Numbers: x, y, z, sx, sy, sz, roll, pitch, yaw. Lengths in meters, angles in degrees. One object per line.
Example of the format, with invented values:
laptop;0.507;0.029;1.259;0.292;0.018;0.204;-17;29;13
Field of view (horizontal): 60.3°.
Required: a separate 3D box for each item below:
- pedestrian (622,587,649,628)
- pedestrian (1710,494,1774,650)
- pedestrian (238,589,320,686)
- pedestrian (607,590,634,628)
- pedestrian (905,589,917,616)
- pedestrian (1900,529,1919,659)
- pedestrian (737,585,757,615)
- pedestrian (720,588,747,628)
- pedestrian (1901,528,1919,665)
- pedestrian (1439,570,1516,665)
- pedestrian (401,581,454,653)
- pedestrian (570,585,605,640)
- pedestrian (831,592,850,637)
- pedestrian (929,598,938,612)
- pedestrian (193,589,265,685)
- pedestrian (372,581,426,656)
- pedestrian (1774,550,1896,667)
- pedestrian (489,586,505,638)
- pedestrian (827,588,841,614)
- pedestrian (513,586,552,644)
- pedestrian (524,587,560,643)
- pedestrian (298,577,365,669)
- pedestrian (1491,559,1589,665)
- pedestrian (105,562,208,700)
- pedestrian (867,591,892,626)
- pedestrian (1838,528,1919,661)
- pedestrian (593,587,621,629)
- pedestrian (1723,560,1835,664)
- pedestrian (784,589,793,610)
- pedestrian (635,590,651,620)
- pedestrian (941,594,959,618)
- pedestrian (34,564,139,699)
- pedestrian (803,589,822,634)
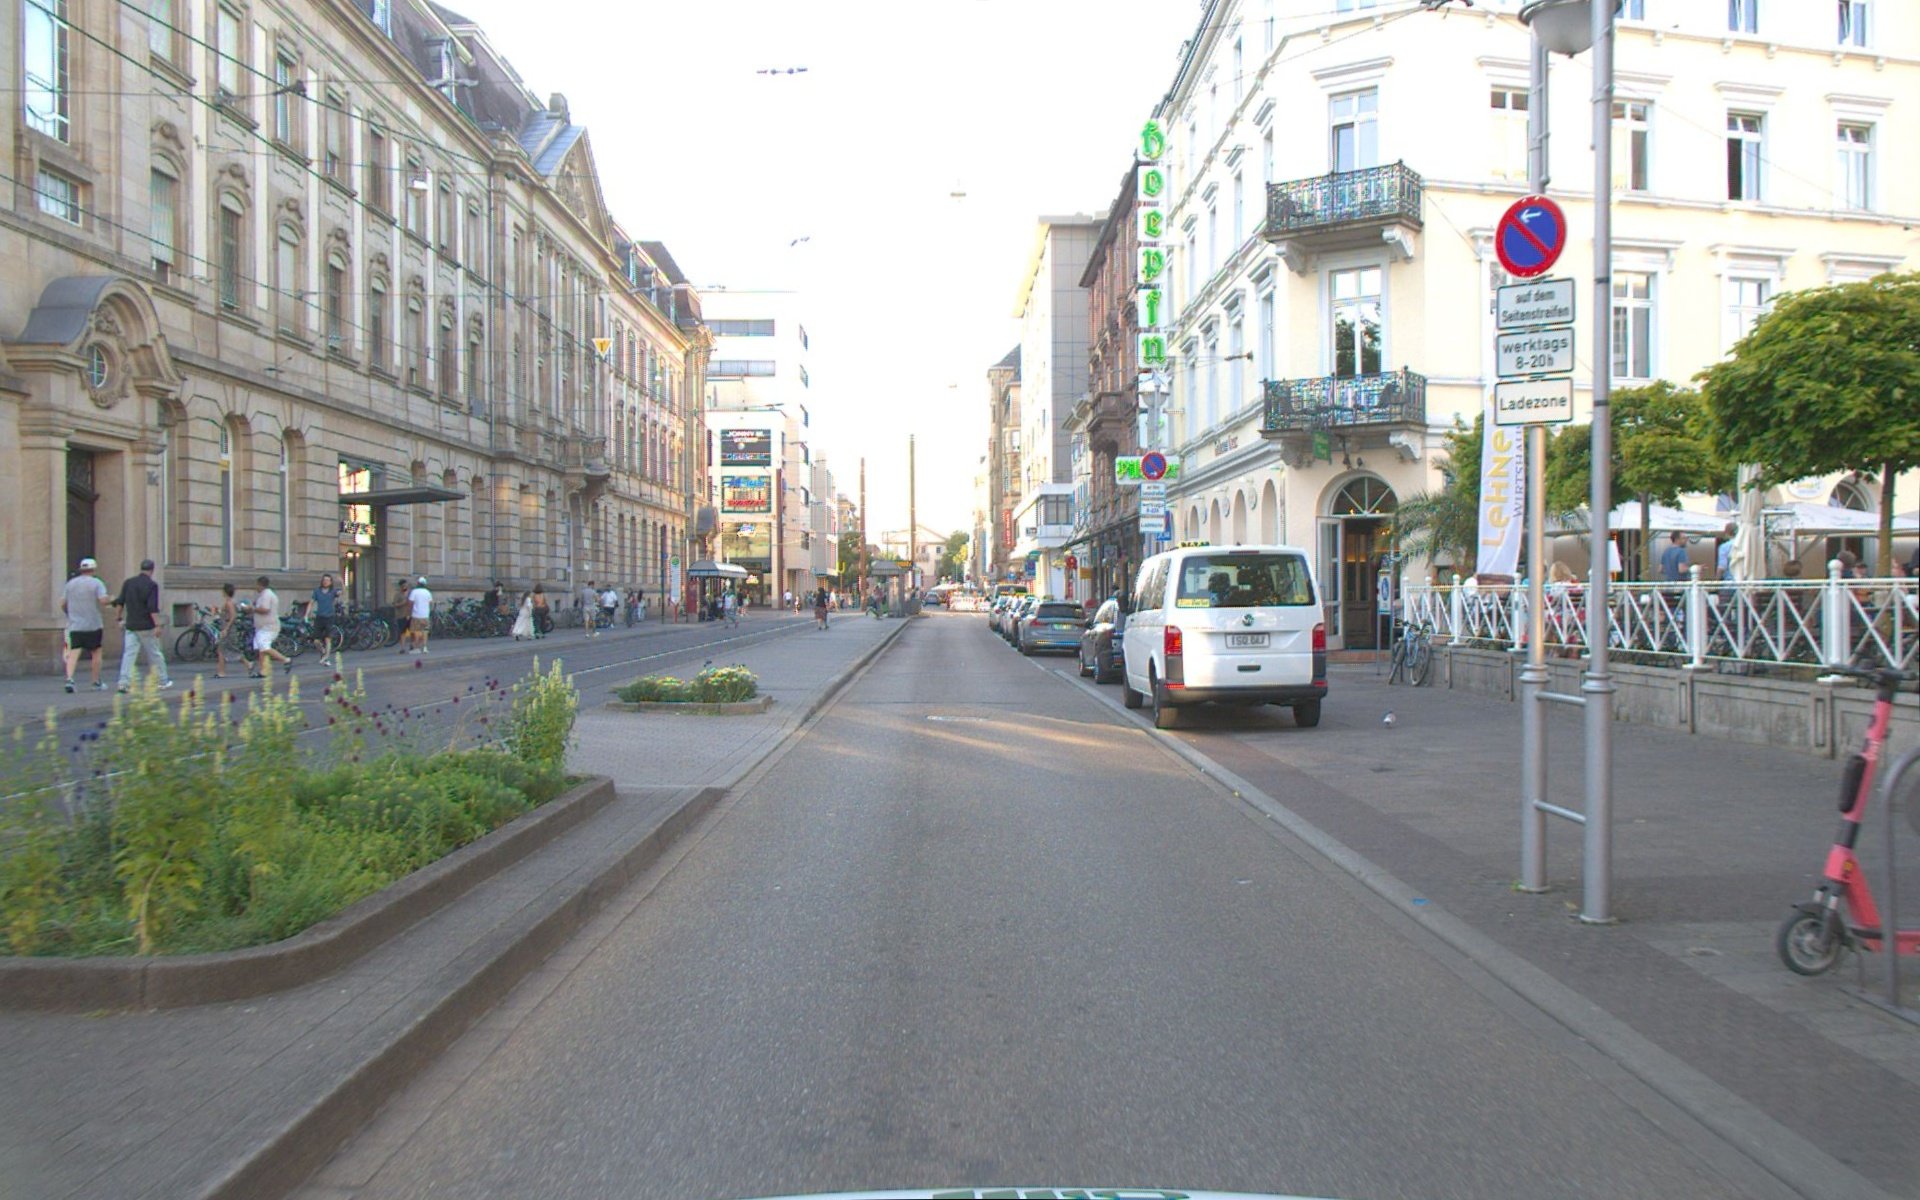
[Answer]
pedestrian;-13.798;0.298;70.337;1.033;1.715;0.903;0;0;-20
pedestrian;11.909;-0.411;25.183;0.604;2.345;0.577;0;-2;-22
pedestrian;-11.022;0.604;26.770;0.706;1.540;1.031;-2;-2;42
pedestrian;-15.658;0.401;76.328;1.026;1.715;0.791;0;0;5
pedestrian;-2.934;0.146;99.251;0.601;1.550;0.619;0;-2;-9
pedestrian;12.710;-0.083;21.335;0.742;1.672;0.659;-1;-2;1
pedestrian;-13.850;0.017;107.558;0.888;1.962;0.849;0;0;30
pedestrian;-9.758;0.322;71.270;1.027;1.715;0.908;0;0;-1
pedestrian;12.154;-0.048;20.338;0.742;1.672;0.659;-1;-2;-1
pedestrian;7.448;0.258;23.849;0.806;1.329;0.869;-1;-2;-2
pedestrian;-12.530;0.406;38.948;0.860;1.682;0.876;-1;-2;13
pedestrian;-11.745;0.406;52.165;1.030;1.715;0.906;0;-2;-10
pedestrian;-4.500;0.530;62.059;0.659;1.665;0.761;0;0;-8
pedestrian;-3.382;0.613;210.027;0.768;1.765;0.809;-2;-2;39
pedestrian;-12.001;0.605;27.149;0.746;1.540;0.858;-2;-2;42
pedestrian;-13.407;0.443;39.530;0.855;1.750;0.882;-1;-2;23
pedestrian;10.468;0.108;19.828;0.944;1.360;0.905;-1;-2;-1
pedestrian;-15.309;0.397;54.695;0.507;1.702;0.480;0;0;-16
pedestrian;-9.584;0.097;125.619;0.891;1.962;0.847;0;0;-17
pedestrian;-12.801;0.465;49.534;1.030;1.715;0.906;0;-2;-10
pedestrian;-12.987;0.475;51.425;1.030;1.715;0.906;0;-2;-10
pedestrian;-12.140;0.454;31.969;0.854;1.740;1.131;-1;-2;0
pedestrian;7.473;0.168;21.355;0.884;1.329;0.966;-1;-2;-2
pedestrian;-11.021;0.427;22.712;0.943;1.842;0.906;-1;-2;5
pedestrian;-4.052;0.442;83.087;1.026;1.715;0.909;-1;-2;10
pedestrian;11.875;-0.065;21.294;0.742;1.672;0.659;-1;-2;1
pedestrian;-14.624;0.336;68.485;1.033;1.715;0.903;0;0;-20
pedestrian;10.422;0.159;21.071;0.944;1.289;0.905;-1;-2;-1
pedestrian;-16.305;-0.036;157.254;0.831;1.962;0.908;0;0;0
pedestrian;-15.924;0.249;83.023;0.616;1.454;0.711;0;0;5
pedestrian;-0.819;0.475;134.469;1.209;1.962;1.017;0;0;-17
pedestrian;-12.122;0.443;22.980;0.943;1.817;0.906;-1;-2;5
pedestrian;-5.502;0.419;61.740;0.676;1.665;0.580;0;0;-9
